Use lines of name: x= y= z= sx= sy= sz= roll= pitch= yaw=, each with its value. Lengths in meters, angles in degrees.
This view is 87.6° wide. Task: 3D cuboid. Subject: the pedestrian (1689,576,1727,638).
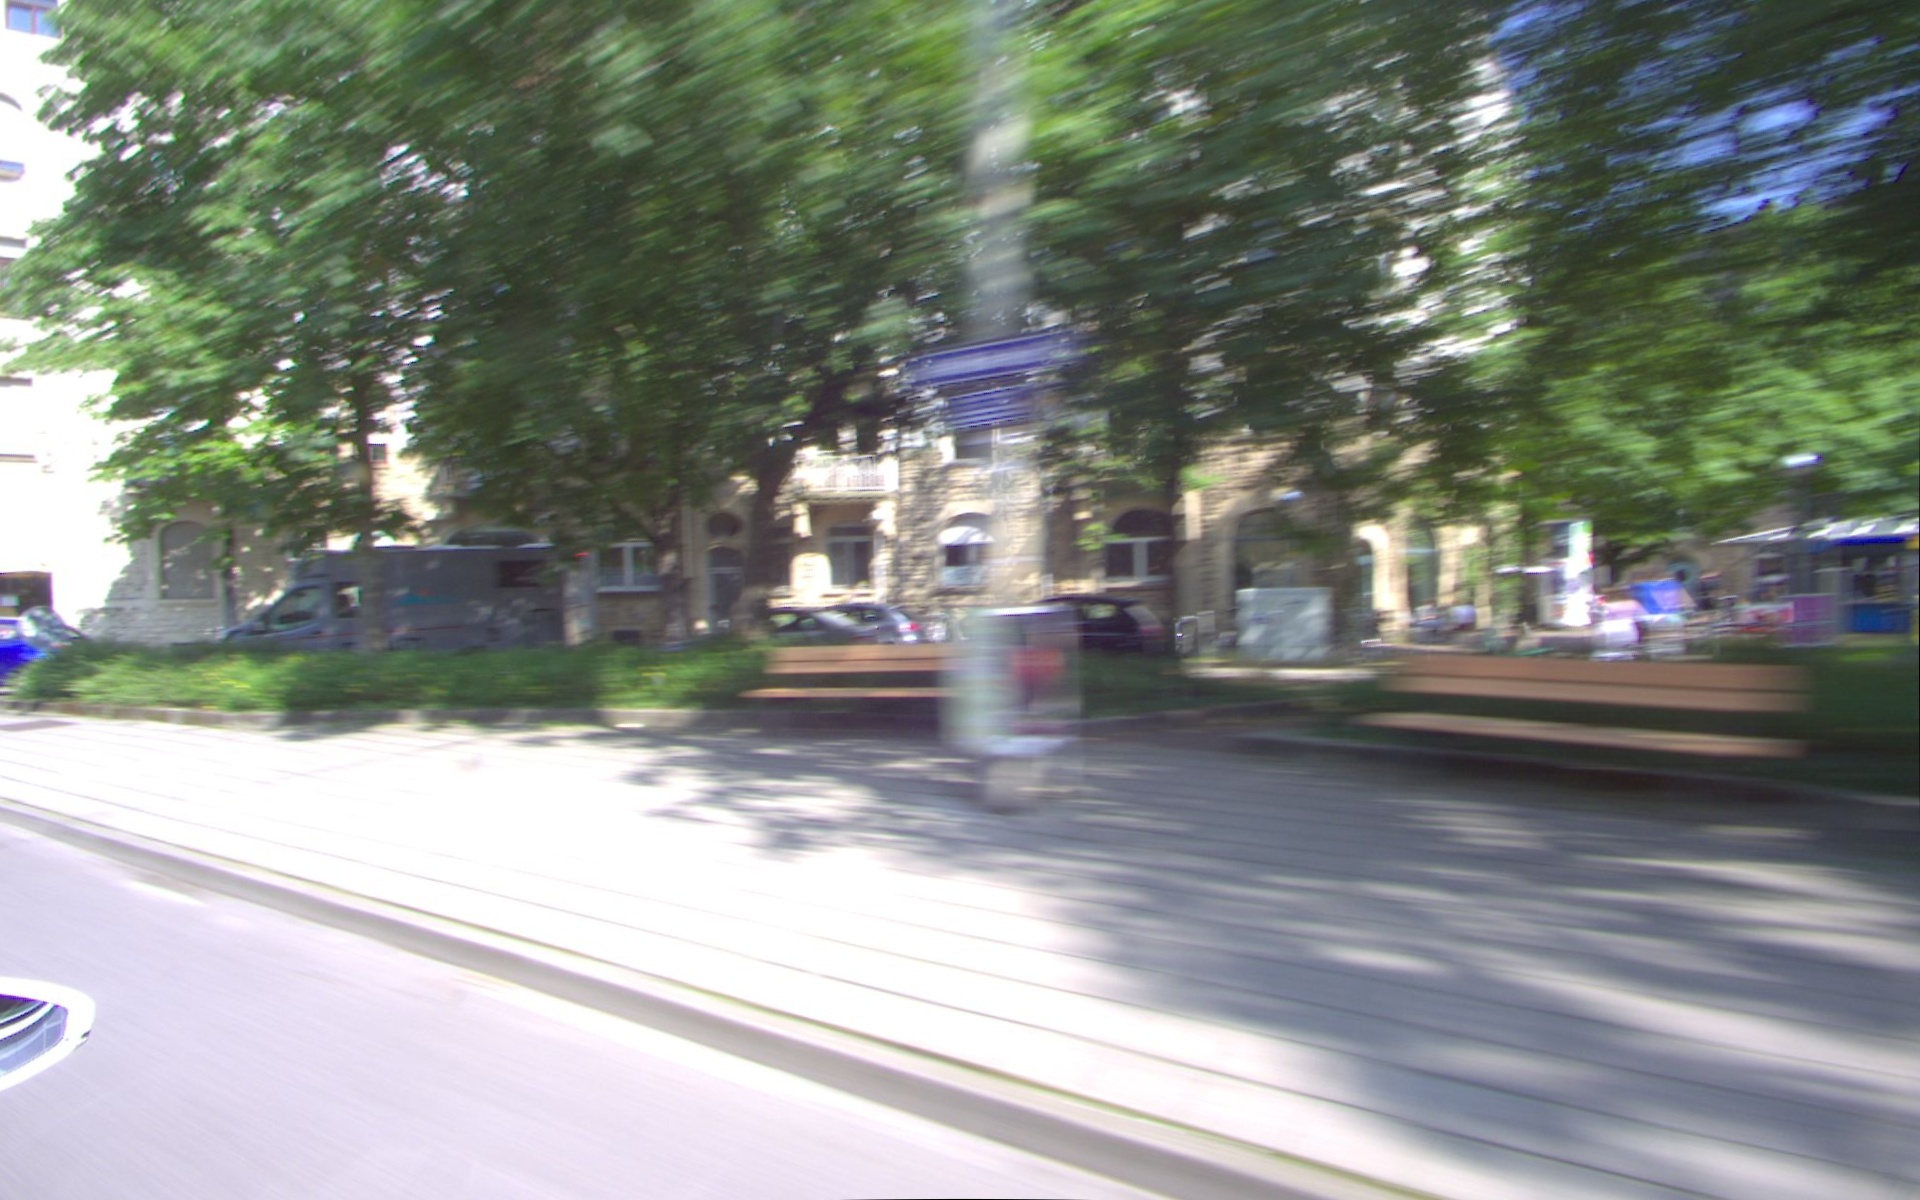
pedestrian: x=21.654 y=0.209 z=28.995 sx=0.835 sy=1.762 sz=0.678 roll=-1 pitch=1 yaw=-36

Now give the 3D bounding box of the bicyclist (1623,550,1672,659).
bicyclist: x=9.189 y=0.074 z=13.404 sx=0.475 sy=1.422 sz=0.631 roll=-1 pitch=-1 yaw=30

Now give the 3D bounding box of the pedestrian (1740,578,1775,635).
pedestrian: x=25.207 y=0.192 z=31.649 sx=0.835 sy=1.762 sz=0.678 roll=-1 pitch=1 yaw=-36

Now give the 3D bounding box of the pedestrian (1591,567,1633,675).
pedestrian: x=10.659 y=0.343 z=16.387 sx=0.526 sy=1.722 sz=0.558 roll=-1 pitch=-1 yaw=31

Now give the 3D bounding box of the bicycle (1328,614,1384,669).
bicycle: x=8.180 y=0.823 z=20.661 sx=0.591 sy=1.045 sz=1.963 roll=0 pitch=1 yaw=37

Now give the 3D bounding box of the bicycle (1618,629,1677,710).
bicycle: x=9.224 y=0.904 z=13.472 sx=0.516 sy=1.018 sz=1.678 roll=-1 pitch=-2 yaw=30

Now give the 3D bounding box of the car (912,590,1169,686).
car: x=1.425 y=0.620 z=17.284 sx=4.110 sy=1.521 sz=1.845 roll=-1 pitch=0 yaw=18

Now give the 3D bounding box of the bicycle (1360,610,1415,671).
bicycle: x=8.684 y=0.788 z=20.302 sx=0.591 sy=1.158 sz=1.963 roll=0 pitch=1 yaw=37

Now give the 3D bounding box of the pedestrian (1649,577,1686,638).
pedestrian: x=20.807 y=0.220 z=29.448 sx=0.835 sy=1.762 sz=0.678 roll=-1 pitch=1 yaw=-36

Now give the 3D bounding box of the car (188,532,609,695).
car: x=-10.337 y=0.252 z=19.045 sx=6.547 sy=2.831 sz=2.391 roll=0 pitch=0 yaw=-7

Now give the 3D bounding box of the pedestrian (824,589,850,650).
pedestrian: x=-3.394 y=0.526 z=27.654 sx=0.639 sy=1.663 sz=0.550 roll=-1 pitch=1 yaw=2

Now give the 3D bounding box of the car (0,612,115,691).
car: x=-18.832 y=0.975 z=18.924 sx=3.934 sy=1.438 sz=1.886 roll=-1 pitch=0 yaw=-23

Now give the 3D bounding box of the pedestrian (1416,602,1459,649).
pedestrian: x=12.769 y=0.669 z=26.786 sx=0.674 sy=1.215 sz=0.840 roll=-1 pitch=1 yaw=-36

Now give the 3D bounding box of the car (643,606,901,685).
car: x=-3.476 y=0.830 z=18.874 sx=4.400 sy=1.388 sz=1.836 roll=-1 pitch=0 yaw=11

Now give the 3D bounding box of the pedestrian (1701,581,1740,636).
pedestrian: x=24.819 y=0.274 z=32.675 sx=0.835 sy=1.762 sz=0.806 roll=-1 pitch=1 yaw=-36

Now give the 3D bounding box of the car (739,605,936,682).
car: x=-2.608 y=0.932 z=21.815 sx=3.912 sy=1.560 sz=1.727 roll=-1 pitch=0 yaw=10
